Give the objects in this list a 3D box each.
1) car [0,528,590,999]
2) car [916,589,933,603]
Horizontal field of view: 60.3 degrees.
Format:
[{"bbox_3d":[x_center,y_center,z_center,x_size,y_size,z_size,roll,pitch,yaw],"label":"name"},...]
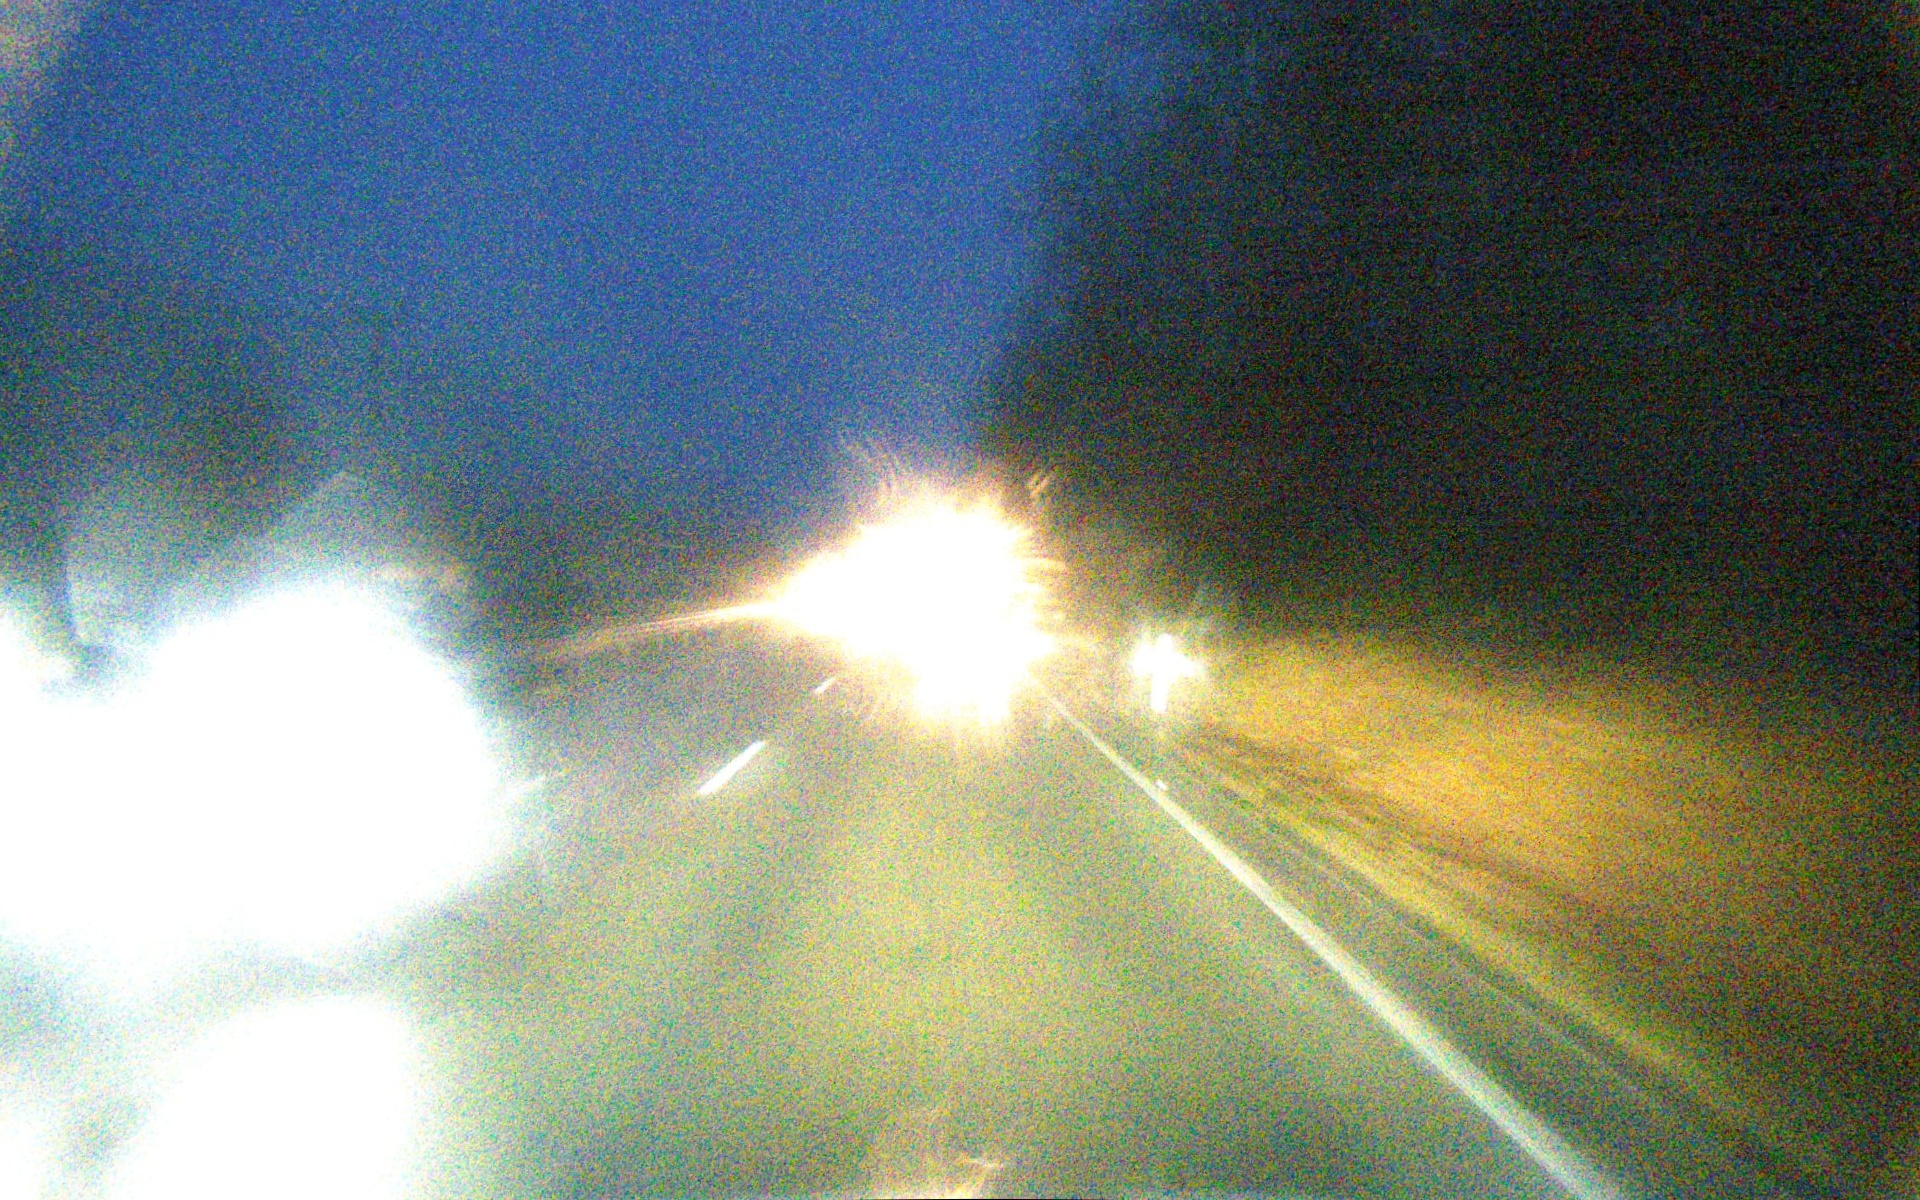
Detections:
[{"bbox_3d":[-3.338,0.585,8.165,2.055,1.668,4.454,-1,0,-1],"label":"car"},{"bbox_3d":[-4.135,-0.471,193.012,1.953,1.695,3.999,-1,0,-1],"label":"car"}]
